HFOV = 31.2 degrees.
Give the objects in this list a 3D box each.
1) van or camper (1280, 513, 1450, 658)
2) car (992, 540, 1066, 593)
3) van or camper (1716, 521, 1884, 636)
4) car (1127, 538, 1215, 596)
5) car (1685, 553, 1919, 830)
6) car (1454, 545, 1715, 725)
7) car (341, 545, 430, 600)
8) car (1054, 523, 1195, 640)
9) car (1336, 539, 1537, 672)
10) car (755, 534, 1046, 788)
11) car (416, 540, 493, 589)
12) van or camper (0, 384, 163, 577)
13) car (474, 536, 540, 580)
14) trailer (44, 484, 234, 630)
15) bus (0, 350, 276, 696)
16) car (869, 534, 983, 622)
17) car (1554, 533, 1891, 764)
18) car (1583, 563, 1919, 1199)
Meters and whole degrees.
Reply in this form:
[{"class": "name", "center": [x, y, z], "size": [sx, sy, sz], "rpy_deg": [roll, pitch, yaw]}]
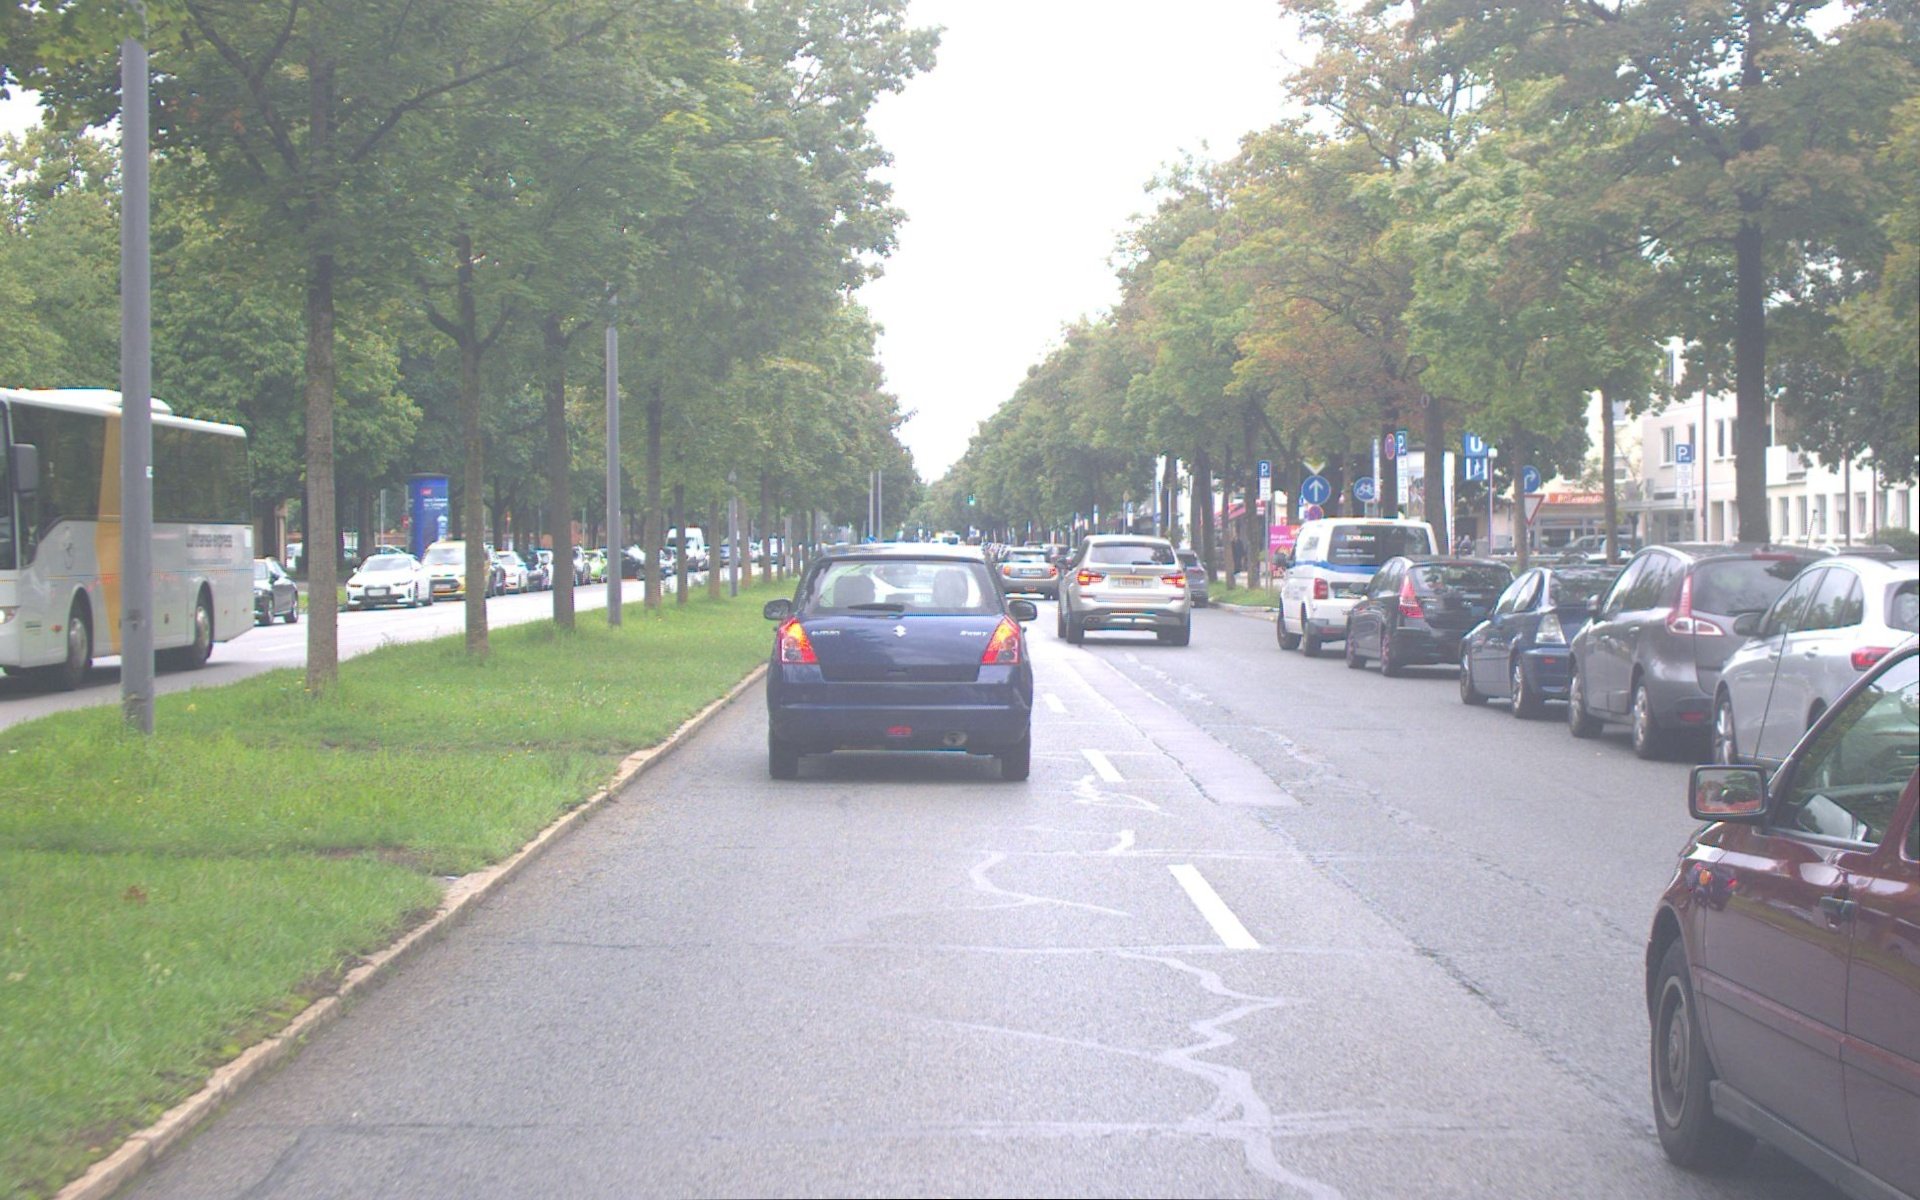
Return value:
[{"class": "van or camper", "center": [5.702, -0.242, 48.838], "size": [1.944, 1.968, 4.306], "rpy_deg": [0, 1, 1]}, {"class": "car", "center": [1.894, -0.947, 95.284], "size": [1.850, 1.442, 4.098], "rpy_deg": [0, 1, -2]}, {"class": "van or camper", "center": [14.860, -0.410, 61.033], "size": [1.944, 1.968, 4.306], "rpy_deg": [0, 1, 1]}, {"class": "car", "center": [5.312, -0.852, 87.165], "size": [1.850, 1.442, 4.098], "rpy_deg": [0, 1, -2]}, {"class": "car", "center": [5.849, 0.498, 21.513], "size": [1.684, 1.520, 4.456], "rpy_deg": [1, 1, 1]}, {"class": "car", "center": [5.747, 0.268, 32.097], "size": [1.684, 1.548, 4.306], "rpy_deg": [0, 1, 1]}, {"class": "car", "center": [-15.623, -0.761, 93.690], "size": [1.850, 1.442, 4.098], "rpy_deg": [0, 1, -2]}, {"class": "car", "center": [2.501, -0.315, 53.167], "size": [1.850, 1.737, 4.098], "rpy_deg": [0, 1, -2]}, {"class": "car", "center": [5.814, 0.021, 42.431], "size": [1.684, 1.548, 4.307], "rpy_deg": [0, 1, -3]}, {"class": "car", "center": [-0.430, 0.336, 23.089], "size": [1.789, 1.550, 4.001], "rpy_deg": [0, 1, -2]}, {"class": "car", "center": [-15.345, -1.101, 104.579], "size": [1.850, 1.442, 4.098], "rpy_deg": [0, 1, -2]}, {"class": "van or camper", "center": [-14.570, -1.828, 54.084], "size": [2.309, 2.823, 7.494], "rpy_deg": [0, 1, 0]}, {"class": "car", "center": [-15.445, -1.444, 117.378], "size": [1.850, 1.442, 4.098], "rpy_deg": [0, 1, -2]}, {"class": "trailer", "center": [-14.885, -0.806, 62.648], "size": [2.106, 2.531, 5.577], "rpy_deg": [0, 1, 0]}, {"class": "bus", "center": [-10.519, -0.836, 39.488], "size": [2.738, 3.366, 12.013], "rpy_deg": [-2, 1, 0]}, {"class": "car", "center": [-0.609, -0.398, 58.560], "size": [1.850, 1.442, 4.098], "rpy_deg": [0, 1, -2]}, {"class": "car", "center": [5.865, 0.309, 26.933], "size": [1.684, 1.620, 4.306], "rpy_deg": [1, 1, 1]}, {"class": "car", "center": [2.471, 0.667, 7.023], "size": [1.622, 1.449, 3.950], "rpy_deg": [0, 1, -1]}]
